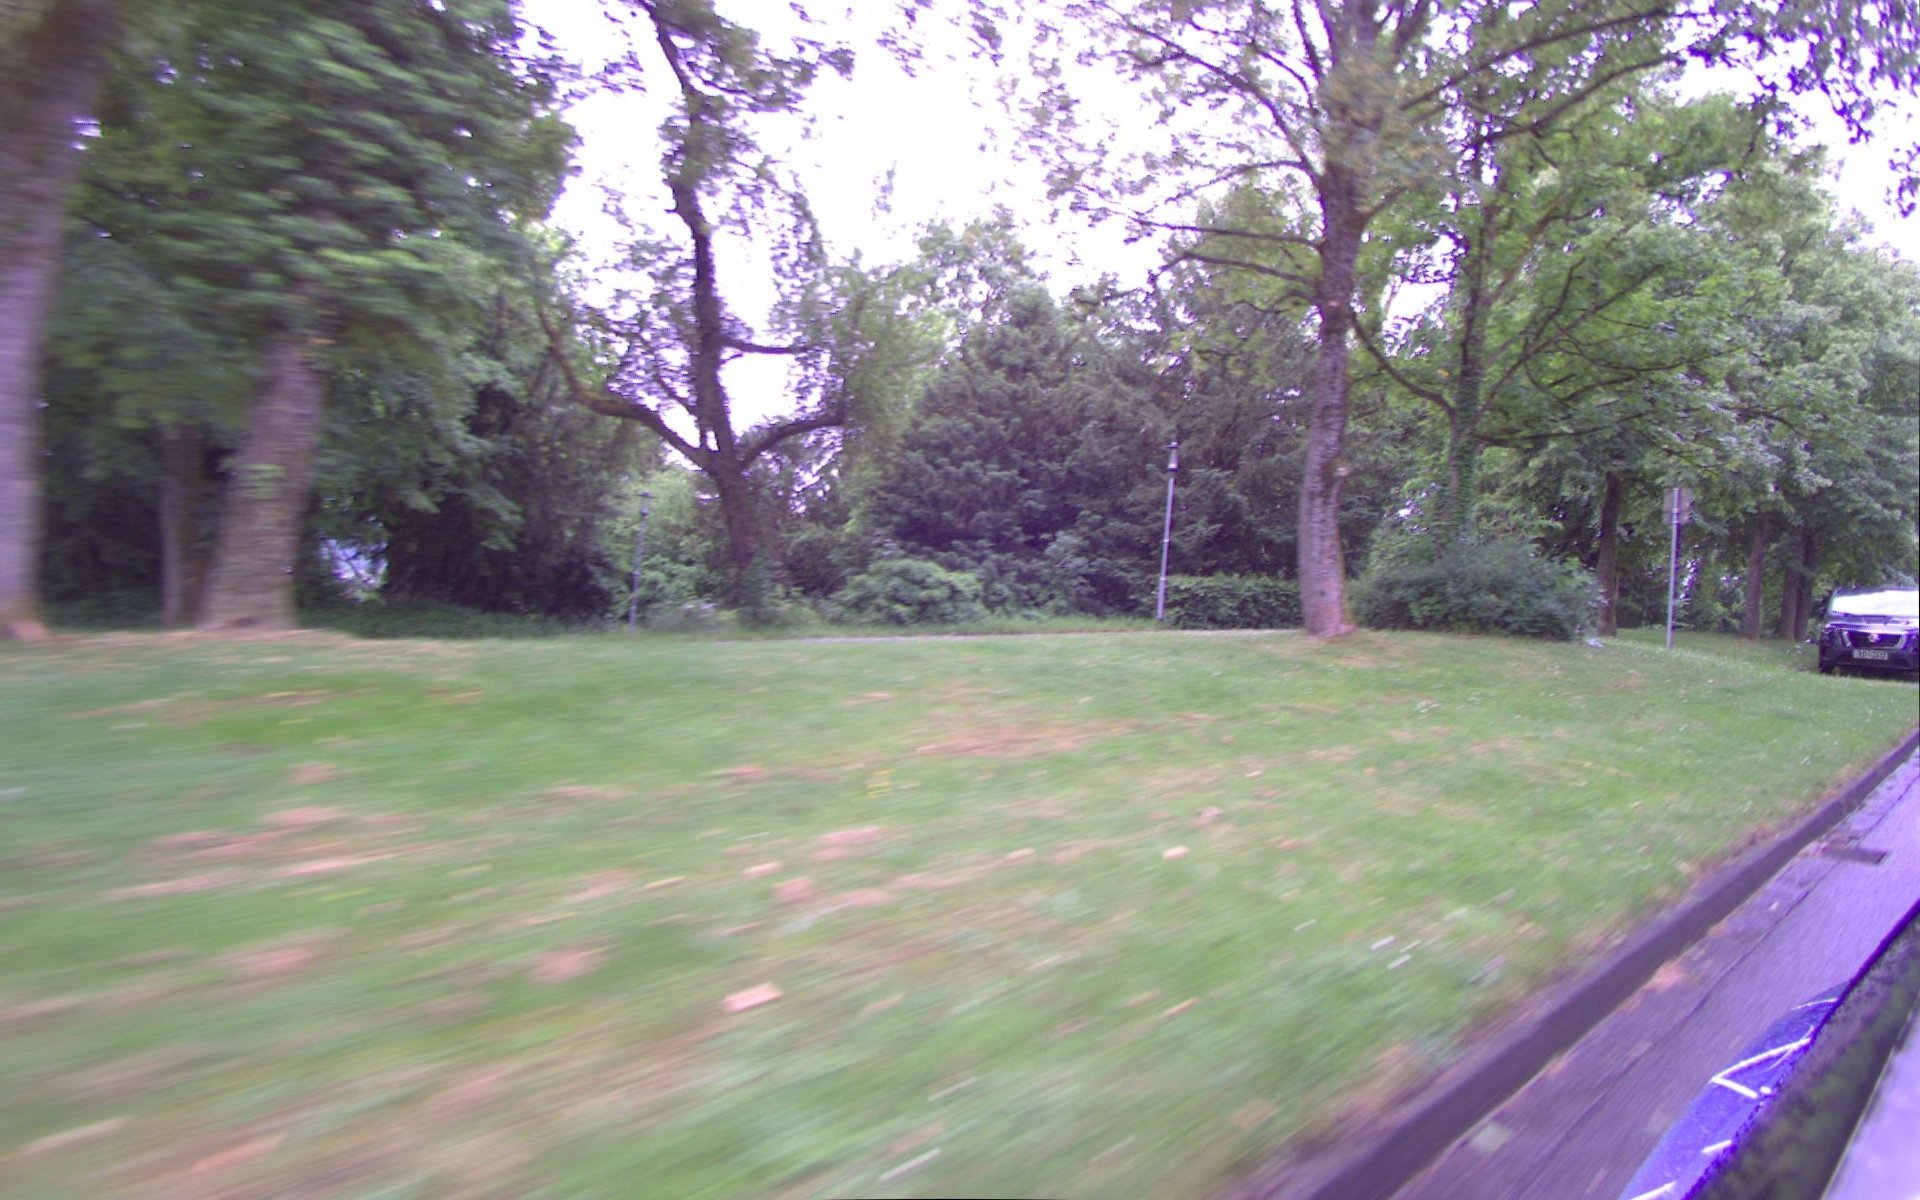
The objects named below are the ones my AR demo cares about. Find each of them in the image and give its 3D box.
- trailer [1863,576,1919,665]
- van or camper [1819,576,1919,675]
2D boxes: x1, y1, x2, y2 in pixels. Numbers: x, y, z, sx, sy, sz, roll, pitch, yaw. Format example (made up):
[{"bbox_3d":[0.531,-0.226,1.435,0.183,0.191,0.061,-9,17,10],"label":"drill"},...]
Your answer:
[{"bbox_3d":[24.130,0.529,25.378,3.882,2.079,1.699,1,1,-42],"label":"trailer"},{"bbox_3d":[20.637,0.542,22.130,5.566,1.892,1.998,1,2,-42],"label":"van or camper"}]
